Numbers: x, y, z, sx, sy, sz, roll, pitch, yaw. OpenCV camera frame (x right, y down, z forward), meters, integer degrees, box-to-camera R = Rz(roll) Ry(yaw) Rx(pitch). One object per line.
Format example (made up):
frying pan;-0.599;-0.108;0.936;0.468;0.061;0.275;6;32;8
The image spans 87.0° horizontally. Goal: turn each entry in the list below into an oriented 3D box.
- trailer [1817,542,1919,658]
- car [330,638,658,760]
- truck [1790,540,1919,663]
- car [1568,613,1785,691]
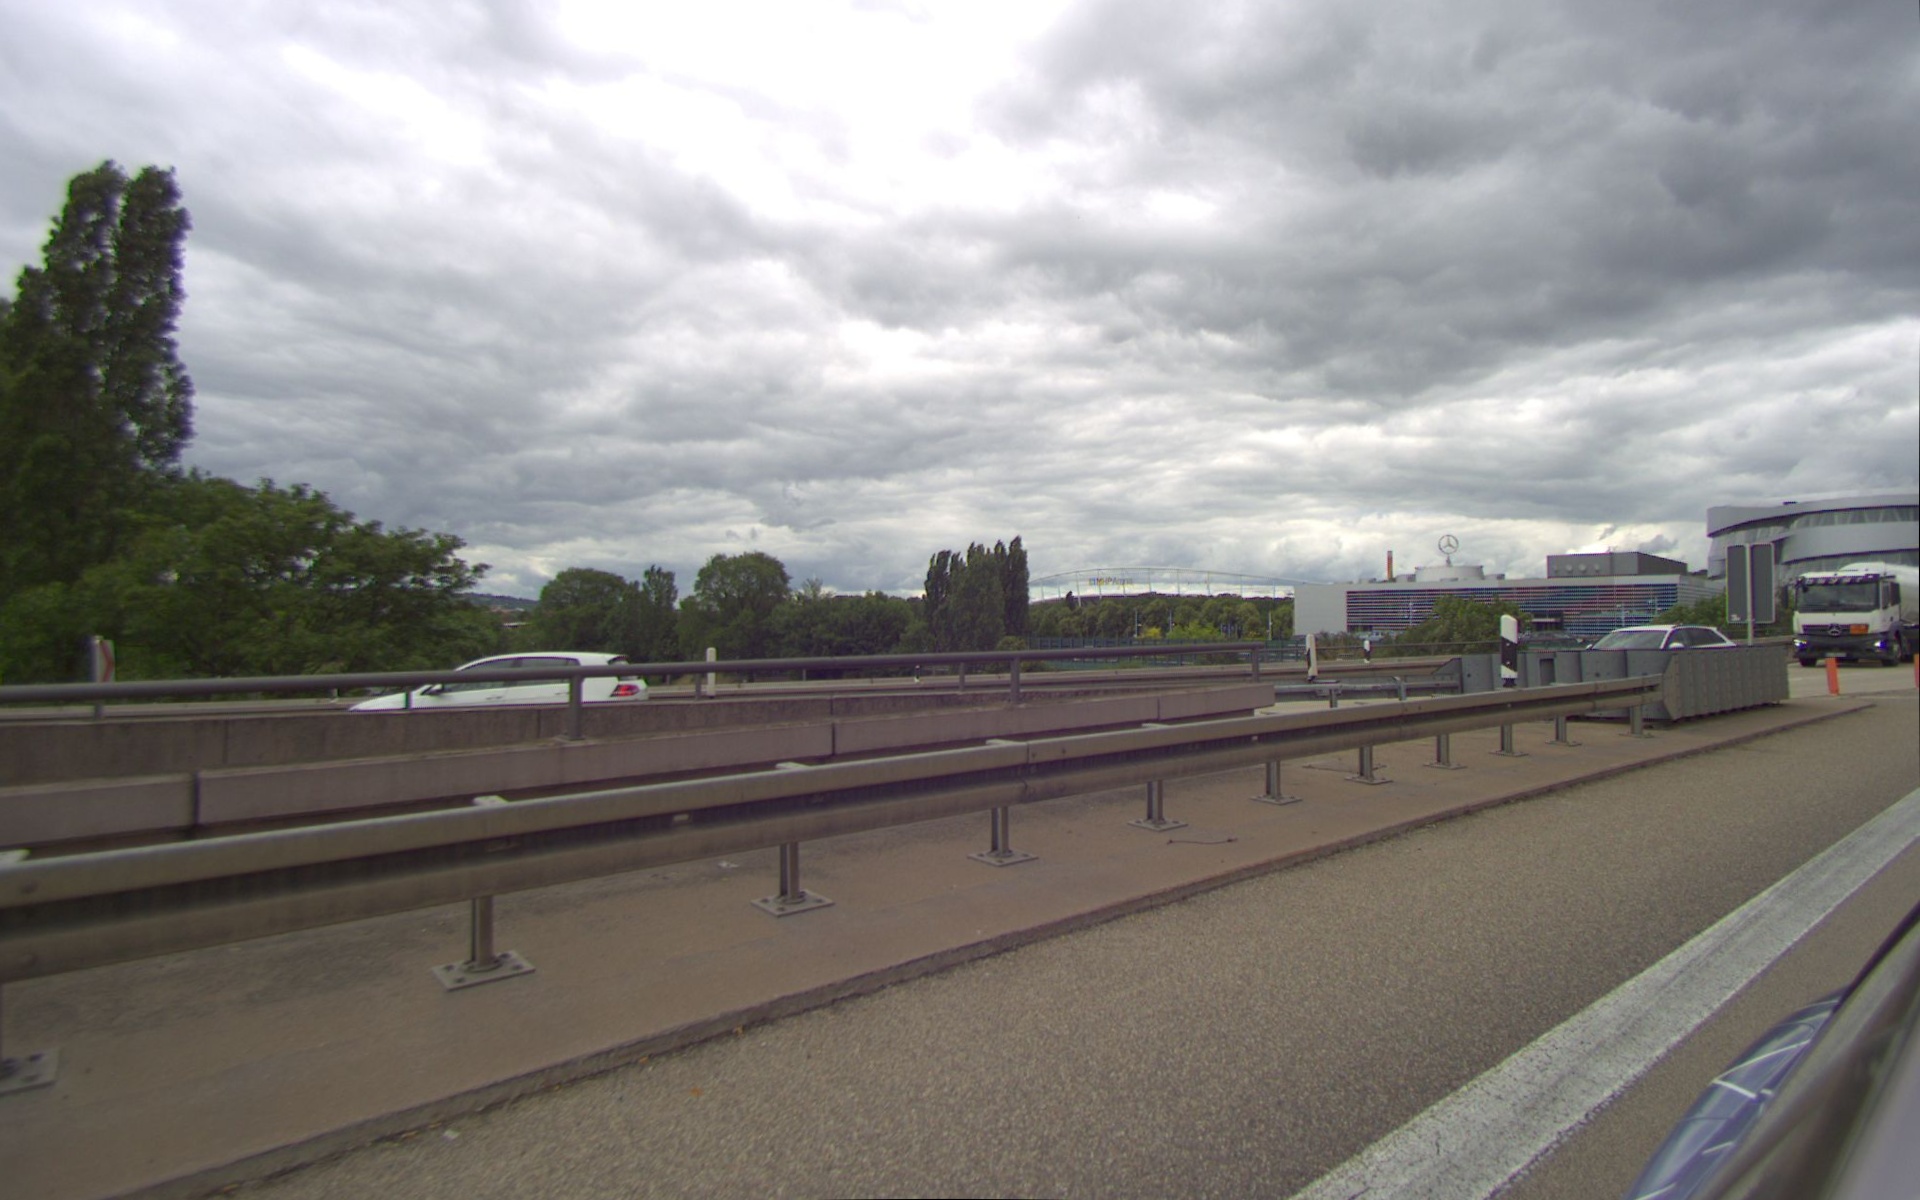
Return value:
trailer;34.170;-0.023;36.430;10.801;3.696;2.748;0;0;-37
car;-6.487;1.360;14.473;3.919;1.500;1.738;-1;-3;-7
truck;29.833;0.026;33.147;6.086;3.692;2.735;0;0;-37
car;14.692;1.058;20.782;3.853;1.428;1.792;-1;-4;-23
